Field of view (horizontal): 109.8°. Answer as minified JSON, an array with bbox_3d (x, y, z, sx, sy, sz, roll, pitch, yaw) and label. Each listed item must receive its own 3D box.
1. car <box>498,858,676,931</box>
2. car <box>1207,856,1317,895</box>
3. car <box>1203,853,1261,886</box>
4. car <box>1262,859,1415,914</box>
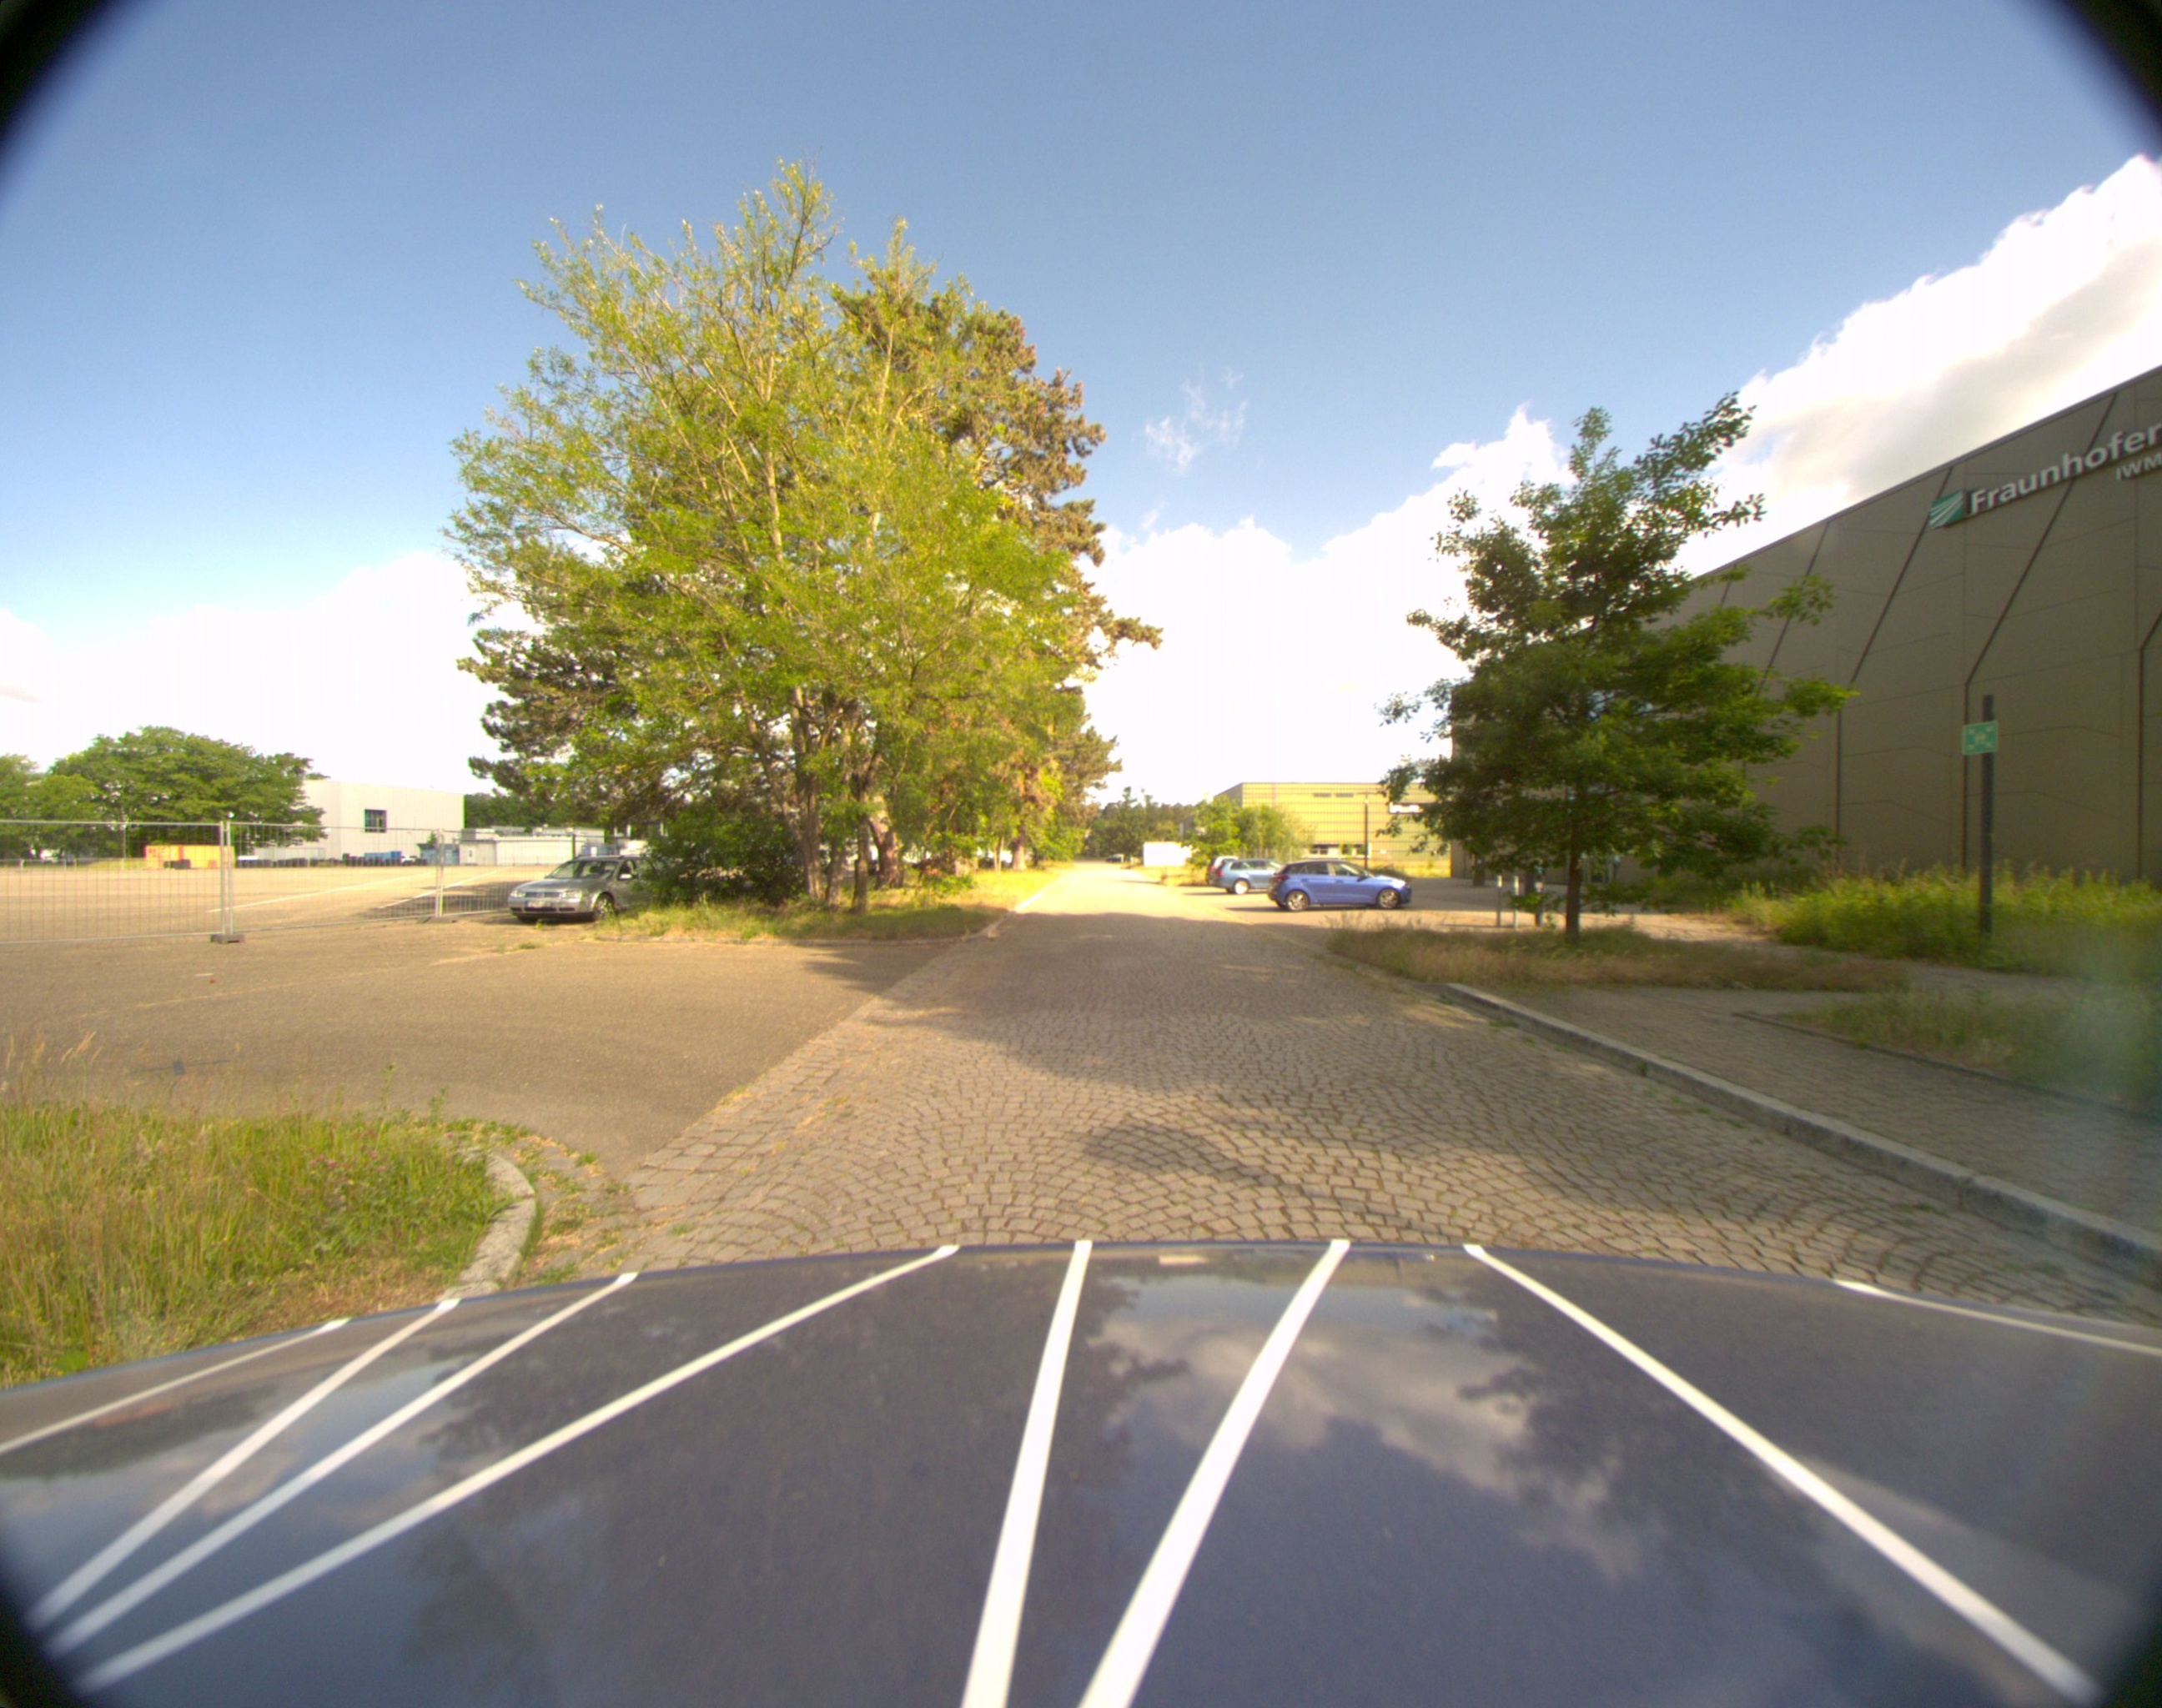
[{"bbox_3d":[-11.082,0.828,17.411,1.578,1.435,3.985,0,0,-2],"label":"car"},{"bbox_3d":[7.519,0.874,31.848,4.179,1.465,1.734,-1,0,-1],"label":"car"},{"bbox_3d":[7.778,0.783,39.192,2.652,1.559,1.481,-1,1,-1],"label":"car"},{"bbox_3d":[7.470,0.940,22.351,3.918,1.459,1.735,-1,0,3],"label":"car"}]
